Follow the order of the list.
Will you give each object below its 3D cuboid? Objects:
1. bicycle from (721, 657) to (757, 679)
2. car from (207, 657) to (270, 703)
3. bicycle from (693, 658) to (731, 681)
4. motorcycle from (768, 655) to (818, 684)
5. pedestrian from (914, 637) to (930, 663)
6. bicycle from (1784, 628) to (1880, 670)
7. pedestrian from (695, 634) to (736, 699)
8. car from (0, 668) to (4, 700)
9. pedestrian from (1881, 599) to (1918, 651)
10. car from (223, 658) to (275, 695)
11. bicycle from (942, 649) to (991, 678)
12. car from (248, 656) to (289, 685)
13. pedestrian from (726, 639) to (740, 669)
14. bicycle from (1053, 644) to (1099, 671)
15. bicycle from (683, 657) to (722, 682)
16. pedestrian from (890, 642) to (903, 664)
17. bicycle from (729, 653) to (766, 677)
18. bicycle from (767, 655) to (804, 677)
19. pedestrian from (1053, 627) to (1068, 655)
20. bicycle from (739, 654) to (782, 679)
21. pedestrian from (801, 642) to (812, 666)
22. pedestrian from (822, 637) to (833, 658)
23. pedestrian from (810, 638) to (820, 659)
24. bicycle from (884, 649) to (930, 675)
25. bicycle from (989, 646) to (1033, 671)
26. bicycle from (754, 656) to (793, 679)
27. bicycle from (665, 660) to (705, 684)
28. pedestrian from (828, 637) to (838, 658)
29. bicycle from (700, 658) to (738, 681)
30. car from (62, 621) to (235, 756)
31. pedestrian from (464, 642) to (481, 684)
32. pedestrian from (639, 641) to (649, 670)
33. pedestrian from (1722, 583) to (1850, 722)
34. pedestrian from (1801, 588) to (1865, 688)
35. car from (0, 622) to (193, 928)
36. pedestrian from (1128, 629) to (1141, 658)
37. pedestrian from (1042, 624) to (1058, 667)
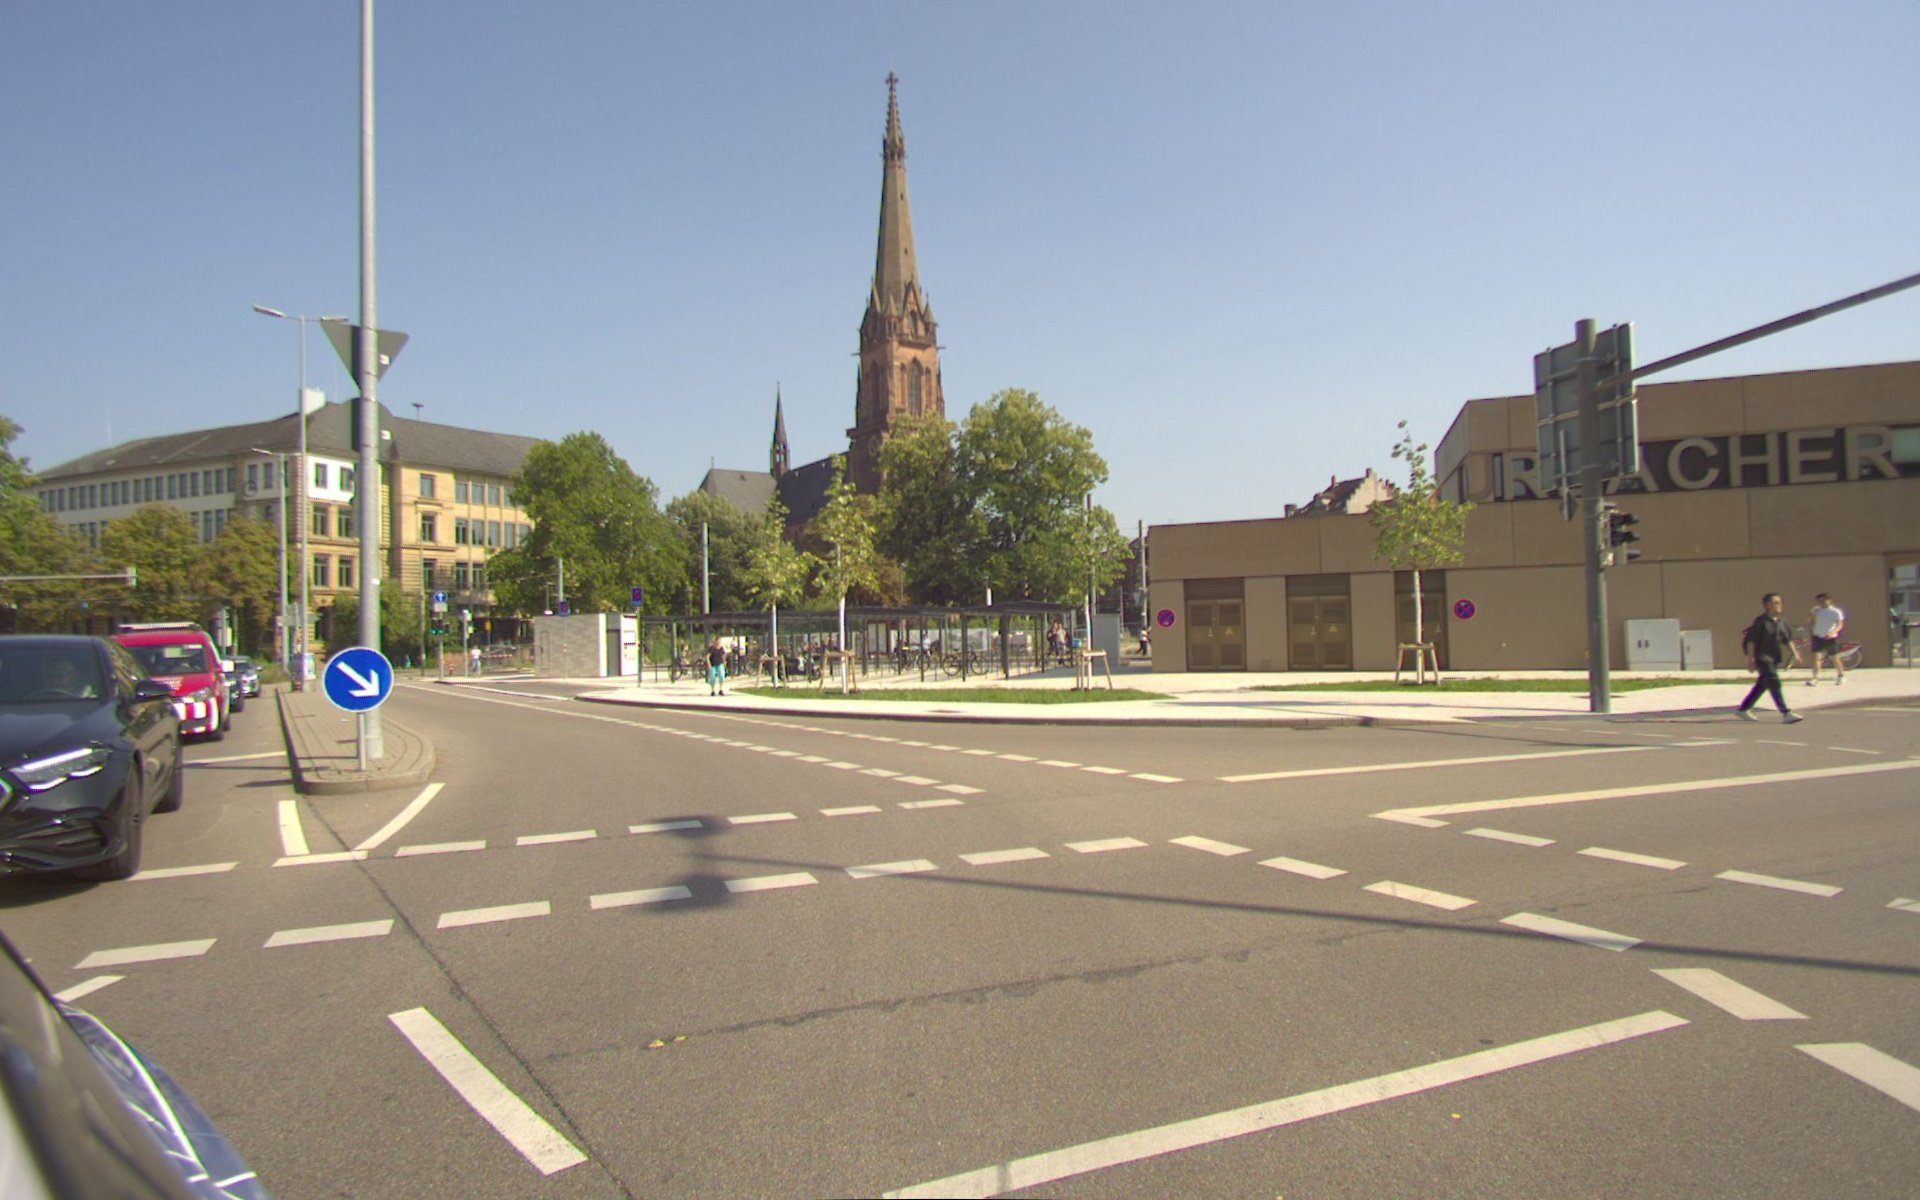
[{"bbox_3d":[-9.380,2.881,42.946,1.577,0.899,0.398,-2,-3,22],"label":"bicycle"},{"bbox_3d":[-24.802,2.701,34.820,1.693,1.444,3.869,0,-3,-35],"label":"car"},{"bbox_3d":[-10.130,2.832,41.378,1.577,0.899,0.398,-2,-3,22],"label":"bicycle"},{"bbox_3d":[-6.017,2.495,36.425,1.734,1.017,0.539,-2,-3,22],"label":"motorcycle"},{"bbox_3d":[-2.086,2.761,55.994,0.639,1.405,0.658,-2,-3,19],"label":"pedestrian"},{"bbox_3d":[21.191,1.193,24.634,1.600,0.963,0.657,-2,-1,20],"label":"bicycle"},{"bbox_3d":[-6.089,1.657,25.186,0.666,1.577,0.744,-3,-4,38],"label":"pedestrian"},{"bbox_3d":[-65.901,5.738,67.650,4.234,2.147,1.978,-4,-1,33],"label":"car"},{"bbox_3d":[31.448,0.828,33.875,0.600,1.708,0.531,-4,-1,11],"label":"pedestrian"},{"bbox_3d":[-29.265,3.120,41.736,1.581,1.339,4.344,0,-2,-33],"label":"car"},{"bbox_3d":[0.216,2.314,36.714,1.734,1.017,0.398,-2,-3,22],"label":"bicycle"},{"bbox_3d":[-41.881,4.251,61.333,1.966,1.564,4.010,0,-2,-34],"label":"car"},{"bbox_3d":[-13.542,3.232,60.355,0.705,1.762,0.390,0,-3,-36],"label":"pedestrian"},{"bbox_3d":[4.598,2.264,40.124,1.732,1.028,0.471,-2,-3,21],"label":"bicycle"},{"bbox_3d":[-10.361,2.789,40.723,1.577,0.975,0.419,-2,-3,22],"label":"bicycle"},{"bbox_3d":[-3.550,2.992,56.730,0.570,1.206,0.464,-3,-3,23],"label":"pedestrian"},{"bbox_3d":[-9.262,2.844,44.127,1.577,0.985,0.449,-2,-1,22],"label":"bicycle"},{"bbox_3d":[-7.456,2.843,43.294,1.577,0.899,0.407,-2,-3,22],"label":"bicycle"},{"bbox_3d":[5.326,2.162,53.691,0.565,1.432,0.466,-4,-1,23],"label":"pedestrian"},{"bbox_3d":[-8.096,2.701,41.053,1.702,0.994,0.529,-2,-3,22],"label":"bicycle"},{"bbox_3d":[-9.026,3.175,59.505,0.413,1.328,0.390,-4,-1,26],"label":"pedestrian"},{"bbox_3d":[-7.885,2.817,60.300,0.380,1.233,0.436,-4,-1,23],"label":"pedestrian"},{"bbox_3d":[-8.569,2.854,59.858,0.380,1.233,0.436,-4,-1,23],"label":"pedestrian"},{"bbox_3d":[-2.187,2.528,41.534,1.862,1.017,0.458,-2,-3,22],"label":"bicycle"},{"bbox_3d":[2.072,2.399,41.456,1.734,1.017,0.398,-2,-3,22],"label":"bicycle"},{"bbox_3d":[-7.746,2.812,42.024,1.577,0.899,0.407,-2,-3,22],"label":"bicycle"},{"bbox_3d":[-10.767,2.812,39.646,1.577,0.899,0.398,-2,-2,22],"label":"bicycle"},{"bbox_3d":[-7.479,2.795,59.706,0.380,1.233,0.436,-4,-1,23],"label":"pedestrian"},{"bbox_3d":[-9.976,2.864,41.869,1.577,0.899,0.407,-2,-3,22],"label":"bicycle"},{"bbox_3d":[-12.797,1.355,16.209,1.708,1.833,4.289,0,-3,-33],"label":"car"},{"bbox_3d":[-24.013,3.078,49.817,0.721,2.029,0.716,0,-3,-29],"label":"pedestrian"},{"bbox_3d":[-19.370,3.407,61.963,0.510,1.720,0.505,-1,-2,-10],"label":"pedestrian"},{"bbox_3d":[11.524,0.724,14.160,0.717,1.854,1.086,-1,-2,-15],"label":"pedestrian"},{"bbox_3d":[16.580,0.719,19.230,0.561,1.847,0.697,0,-3,-32],"label":"pedestrian"},{"bbox_3d":[-6.365,0.934,6.603,1.795,1.451,4.887,0,-2,-33],"label":"car"},{"bbox_3d":[8.950,2.216,51.893,0.466,1.432,0.564,-4,-1,23],"label":"pedestrian"},{"bbox_3d":[3.845,1.948,43.113,0.587,1.815,0.332,-2,-3,17],"label":"pedestrian"}]
